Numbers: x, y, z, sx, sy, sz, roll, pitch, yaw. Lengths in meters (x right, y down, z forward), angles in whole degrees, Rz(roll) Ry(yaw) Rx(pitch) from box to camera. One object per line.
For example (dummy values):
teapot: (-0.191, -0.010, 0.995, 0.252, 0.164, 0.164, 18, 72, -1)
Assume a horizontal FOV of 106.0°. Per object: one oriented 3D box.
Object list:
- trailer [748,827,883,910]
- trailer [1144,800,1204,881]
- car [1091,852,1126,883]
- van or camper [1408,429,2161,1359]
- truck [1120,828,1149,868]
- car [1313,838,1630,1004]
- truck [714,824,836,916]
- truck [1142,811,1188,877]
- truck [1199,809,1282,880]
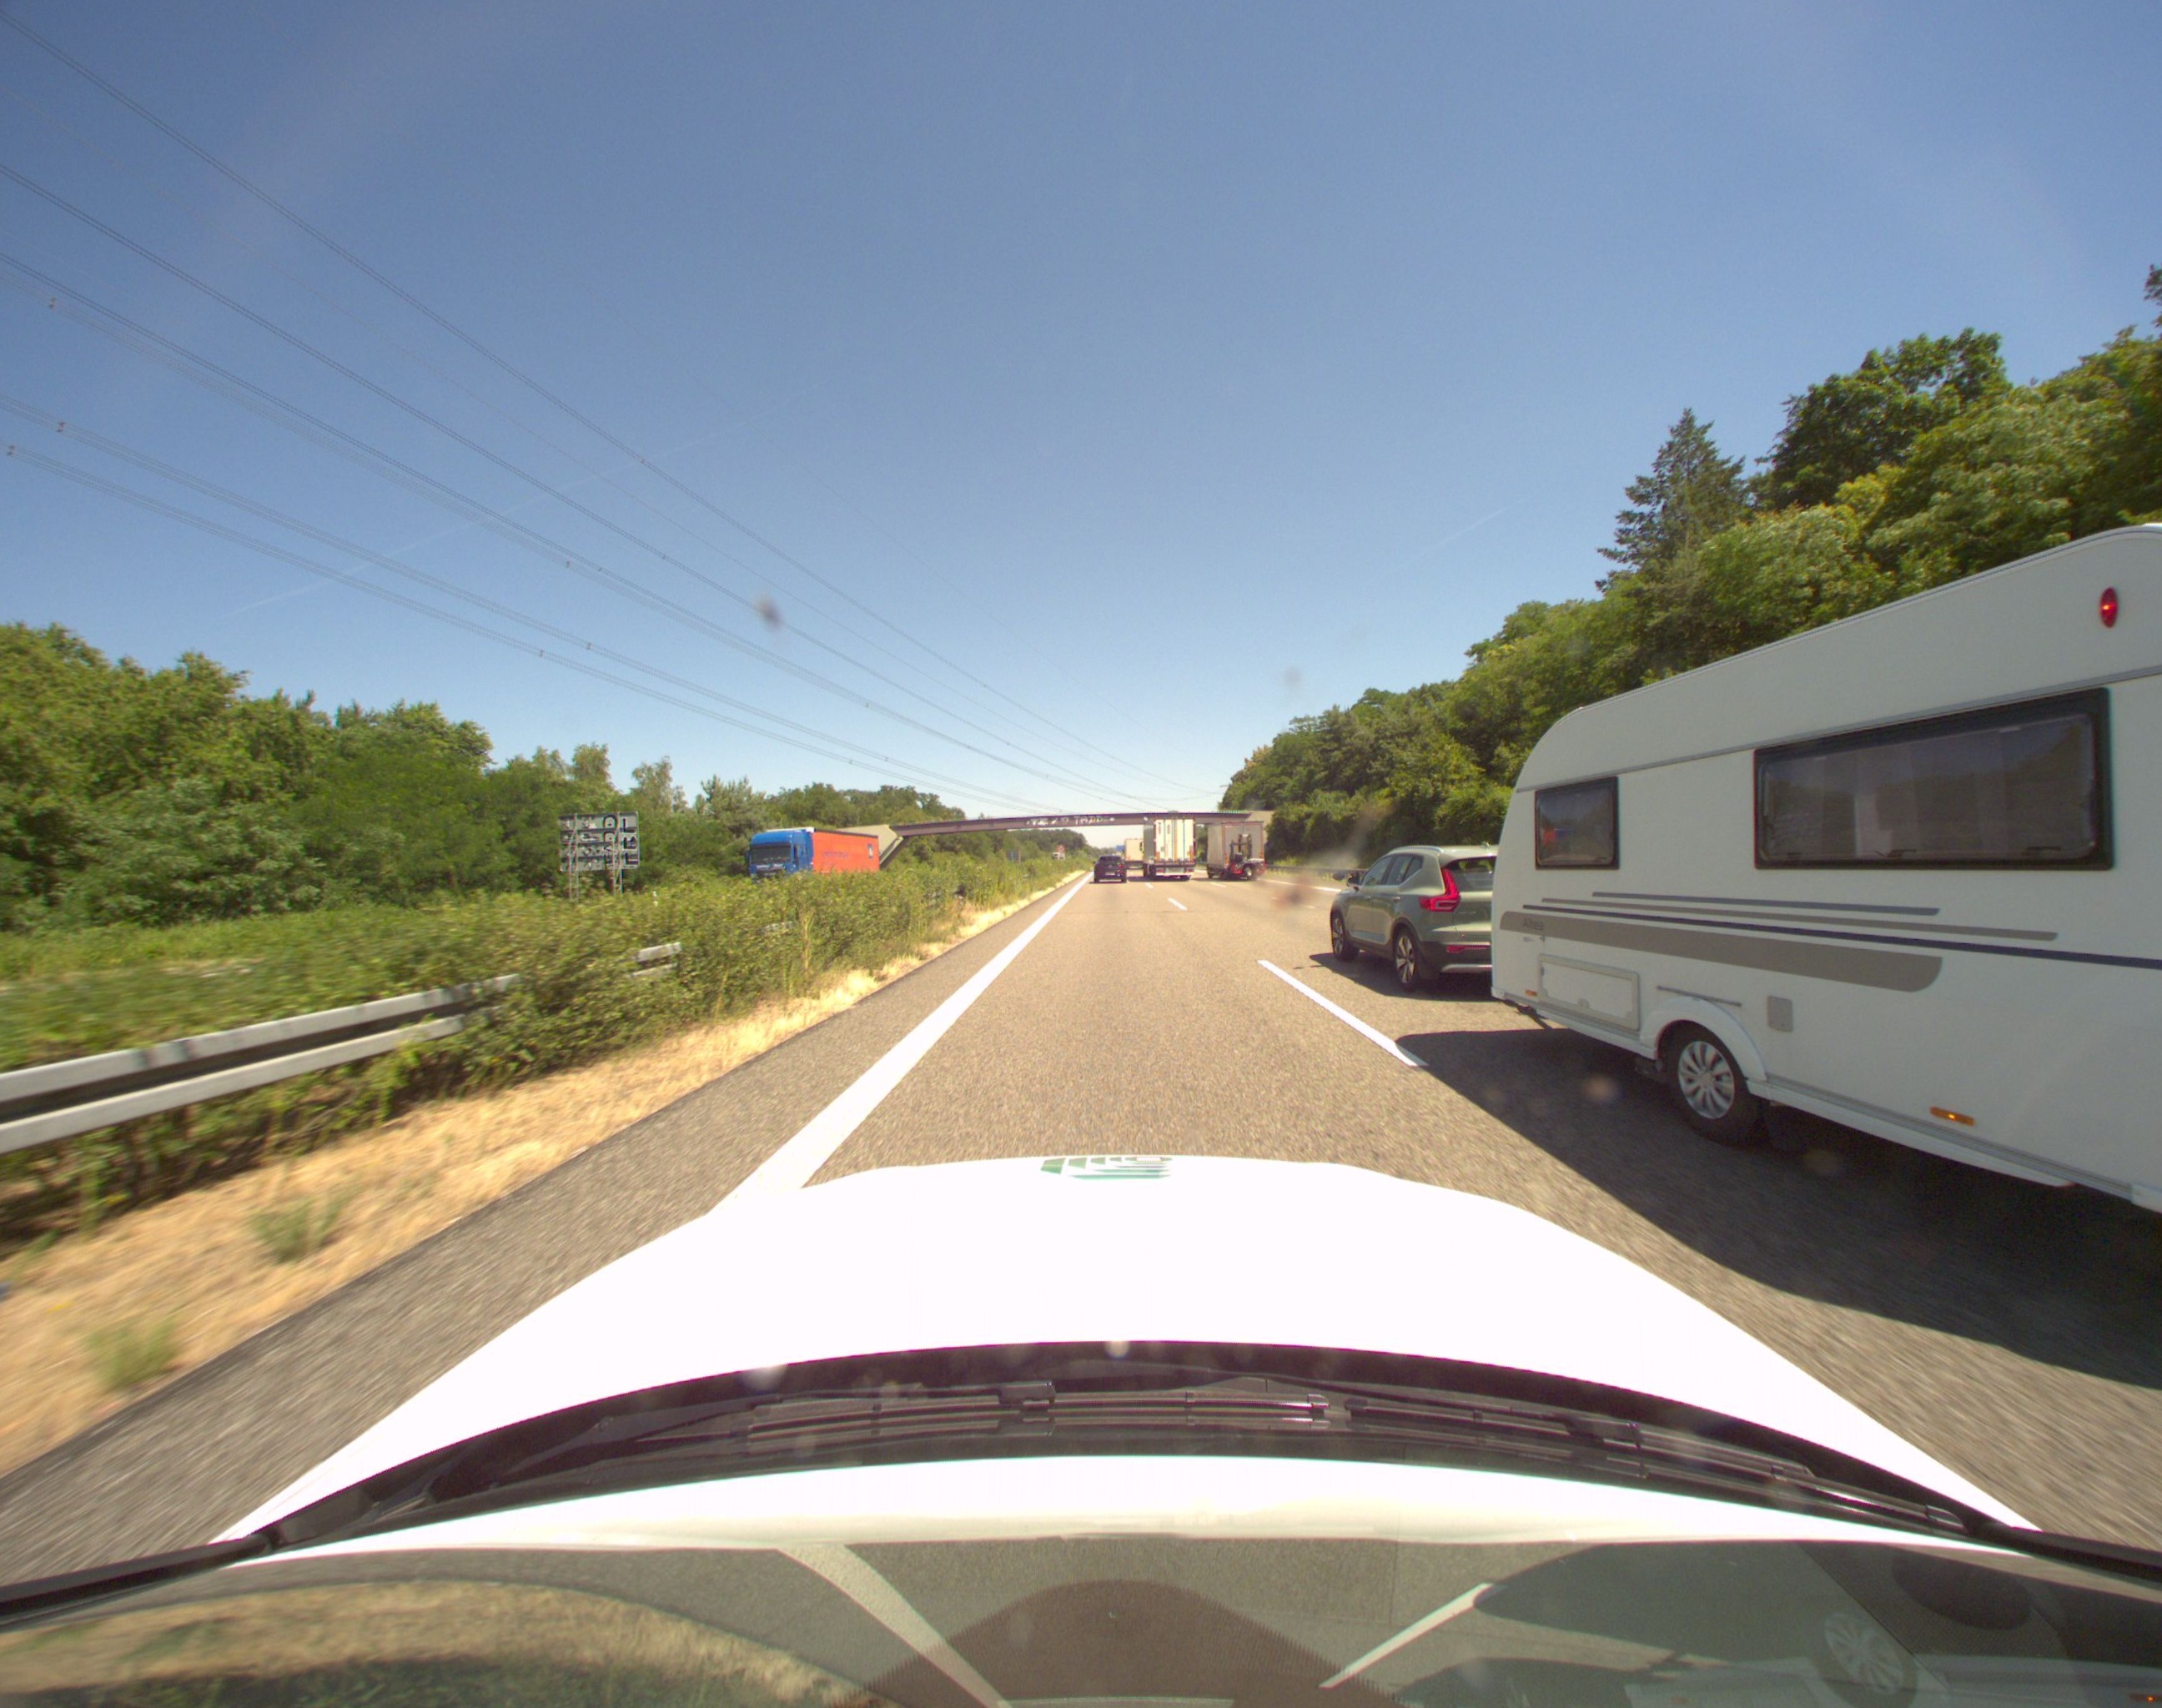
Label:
trailer: (-16.208, 0.823, 51.498, 3.331, 4.407, 14.169, -3, 0, 1)
trailer: (6.116, -0.768, 55.663, 3.075, 4.885, 12.262, 0, -1, 2)
car: (1.651, 0.796, 50.153, 1.987, 1.772, 4.000, -2, 0, 0)
van or camper: (4.377, 0.097, 4.771, 2.430, 2.675, 6.351, -2, 0, 1)
truck: (7.181, -0.763, 109.737, 3.499, 5.166, 10.262, -1, 0, 2)
car: (4.517, 0.668, 10.383, 1.872, 1.612, 4.703, -1, 0, 1)
truck: (-16.325, 0.795, 44.253, 3.332, 4.407, 7.972, -3, 0, 1)
truck: (6.356, -0.704, 62.742, 3.075, 4.885, 6.600, 0, -1, 2)
truck: (10.332, -0.528, 54.296, 3.557, 4.245, 11.655, 0, -1, 2)
